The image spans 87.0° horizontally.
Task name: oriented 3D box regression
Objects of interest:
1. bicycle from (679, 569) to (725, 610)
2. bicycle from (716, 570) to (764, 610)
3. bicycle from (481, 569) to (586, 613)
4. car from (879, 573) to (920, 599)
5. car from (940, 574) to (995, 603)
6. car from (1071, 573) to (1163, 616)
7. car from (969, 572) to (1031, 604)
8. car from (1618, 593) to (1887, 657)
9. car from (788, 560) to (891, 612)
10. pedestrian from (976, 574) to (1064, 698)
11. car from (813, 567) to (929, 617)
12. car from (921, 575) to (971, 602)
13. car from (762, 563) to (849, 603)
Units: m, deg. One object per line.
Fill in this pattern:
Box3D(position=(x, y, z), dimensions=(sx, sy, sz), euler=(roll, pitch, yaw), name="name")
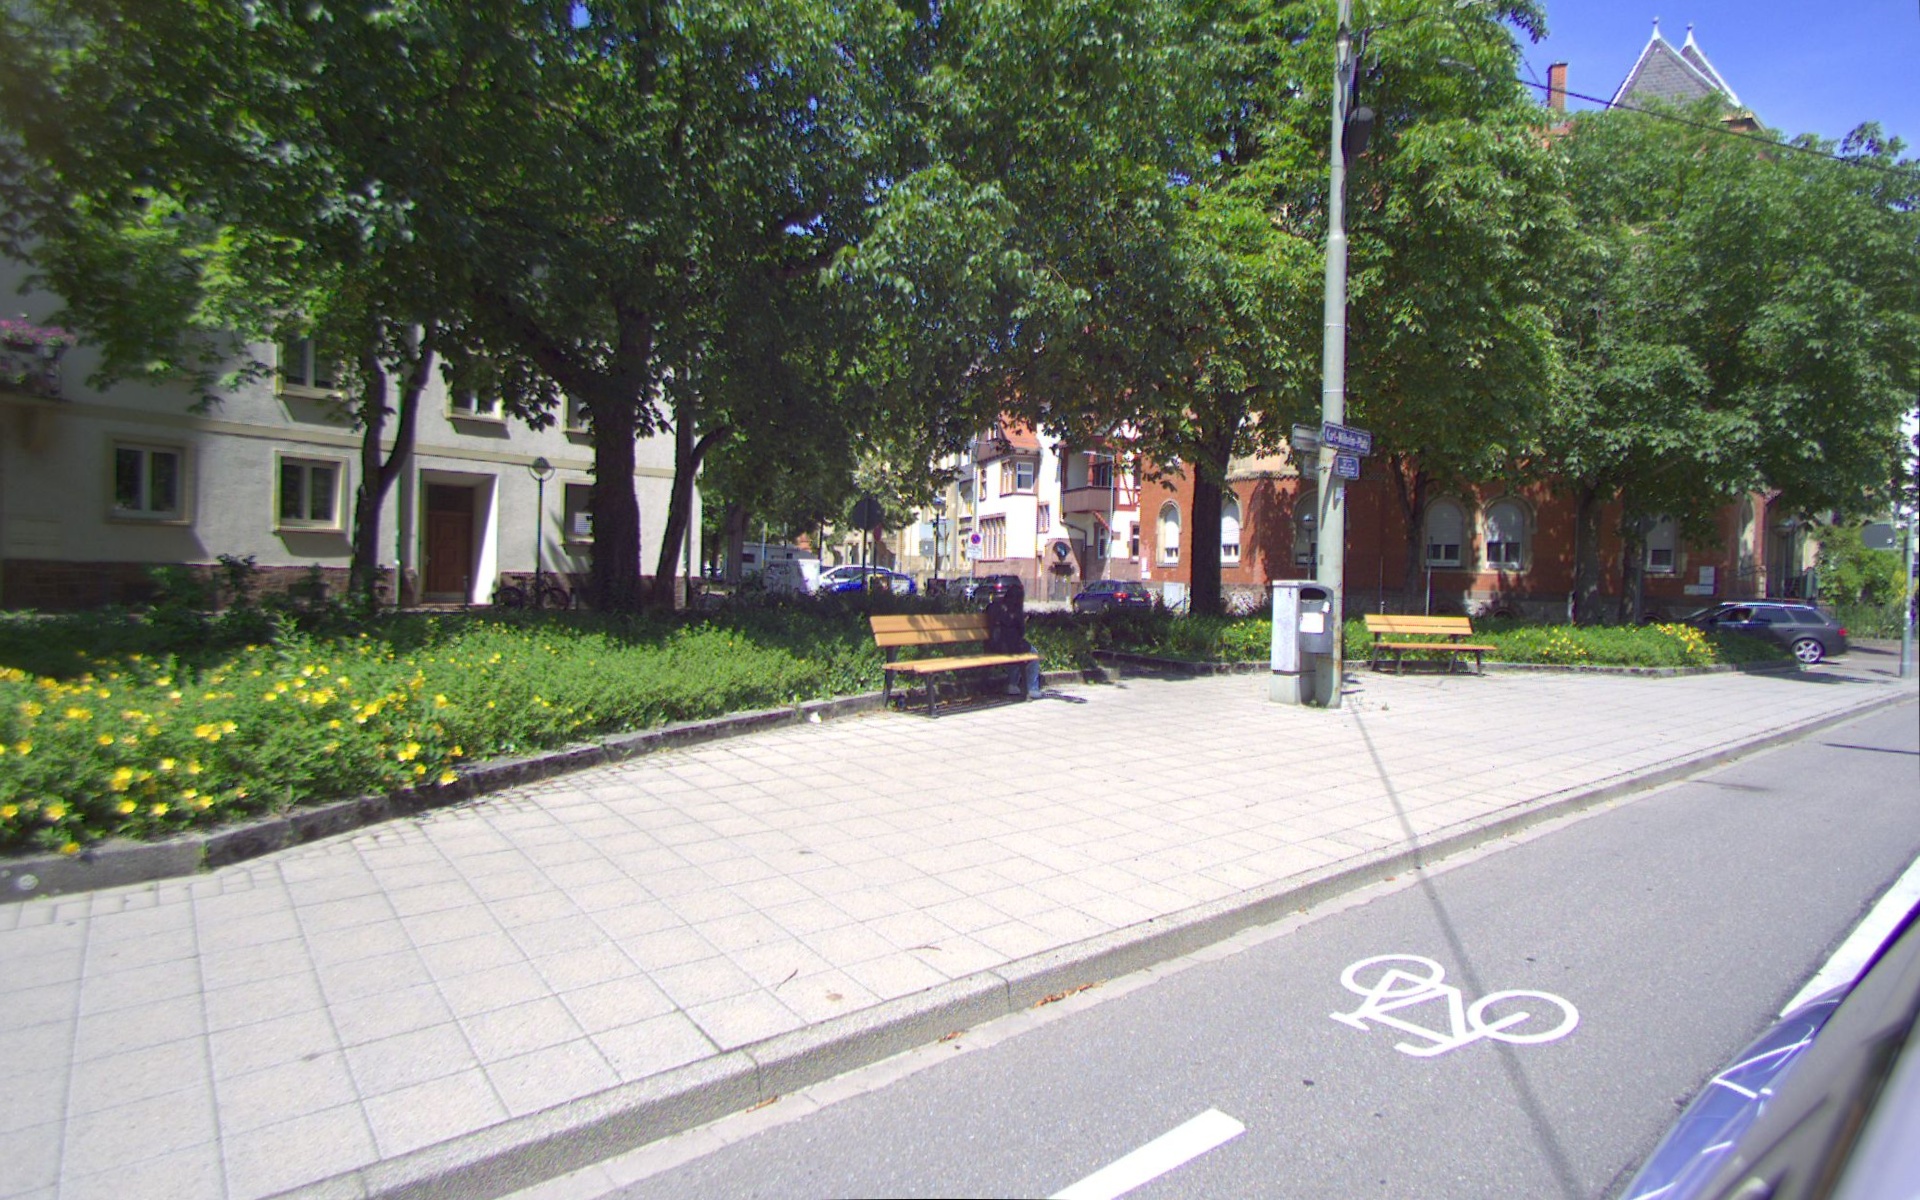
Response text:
Box3D(position=(-6.770, -0.263, 26.479), dimensions=(0.736, 1.024, 2.273), euler=(0, 0, -26), name="bicycle")
Box3D(position=(-5.862, -0.271, 26.908), dimensions=(0.736, 1.024, 2.273), euler=(0, 0, -26), name="bicycle")
Box3D(position=(-10.247, -0.226, 24.379), dimensions=(2.230, 1.024, 0.751), euler=(-1, 0, -41), name="bicycle")
Box3D(position=(-4.497, -1.012, 74.466), dimensions=(1.897, 1.897, 4.318), euler=(0, 0, -19), name="car")
Box3D(position=(0.385, -0.658, 58.686), dimensions=(1.897, 1.638, 4.318), euler=(0, 0, -19), name="car")
Box3D(position=(6.280, -0.233, 41.030), dimensions=(1.897, 1.638, 4.318), euler=(0, 0, -19), name="car")
Box3D(position=(2.071, -0.622, 54.079), dimensions=(1.897, 1.638, 4.318), euler=(0, 0, -19), name="car")
Box3D(position=(19.876, 0.594, 25.691), dimensions=(4.973, 1.501, 1.925), euler=(0, 0, 21), name="car")
Box3D(position=(-5.366, -0.632, 44.833), dimensions=(4.219, 2.219, 1.942), euler=(0, 0, -18), name="car")
Box3D(position=(0.604, 0.336, 10.079), dimensions=(0.562, 1.156, 0.718), euler=(3, 2, 33), name="pedestrian")
Box3D(position=(-3.539, -0.325, 40.020), dimensions=(4.219, 1.903, 1.942), euler=(0, 0, -18), name="car")
Box3D(position=(-0.913, -0.695, 63.257), dimensions=(1.897, 1.638, 4.318), euler=(0, 0, -19), name="car")
Box3D(position=(-8.079, -0.888, 52.942), dimensions=(4.219, 2.029, 1.942), euler=(0, 0, -18), name="car")
